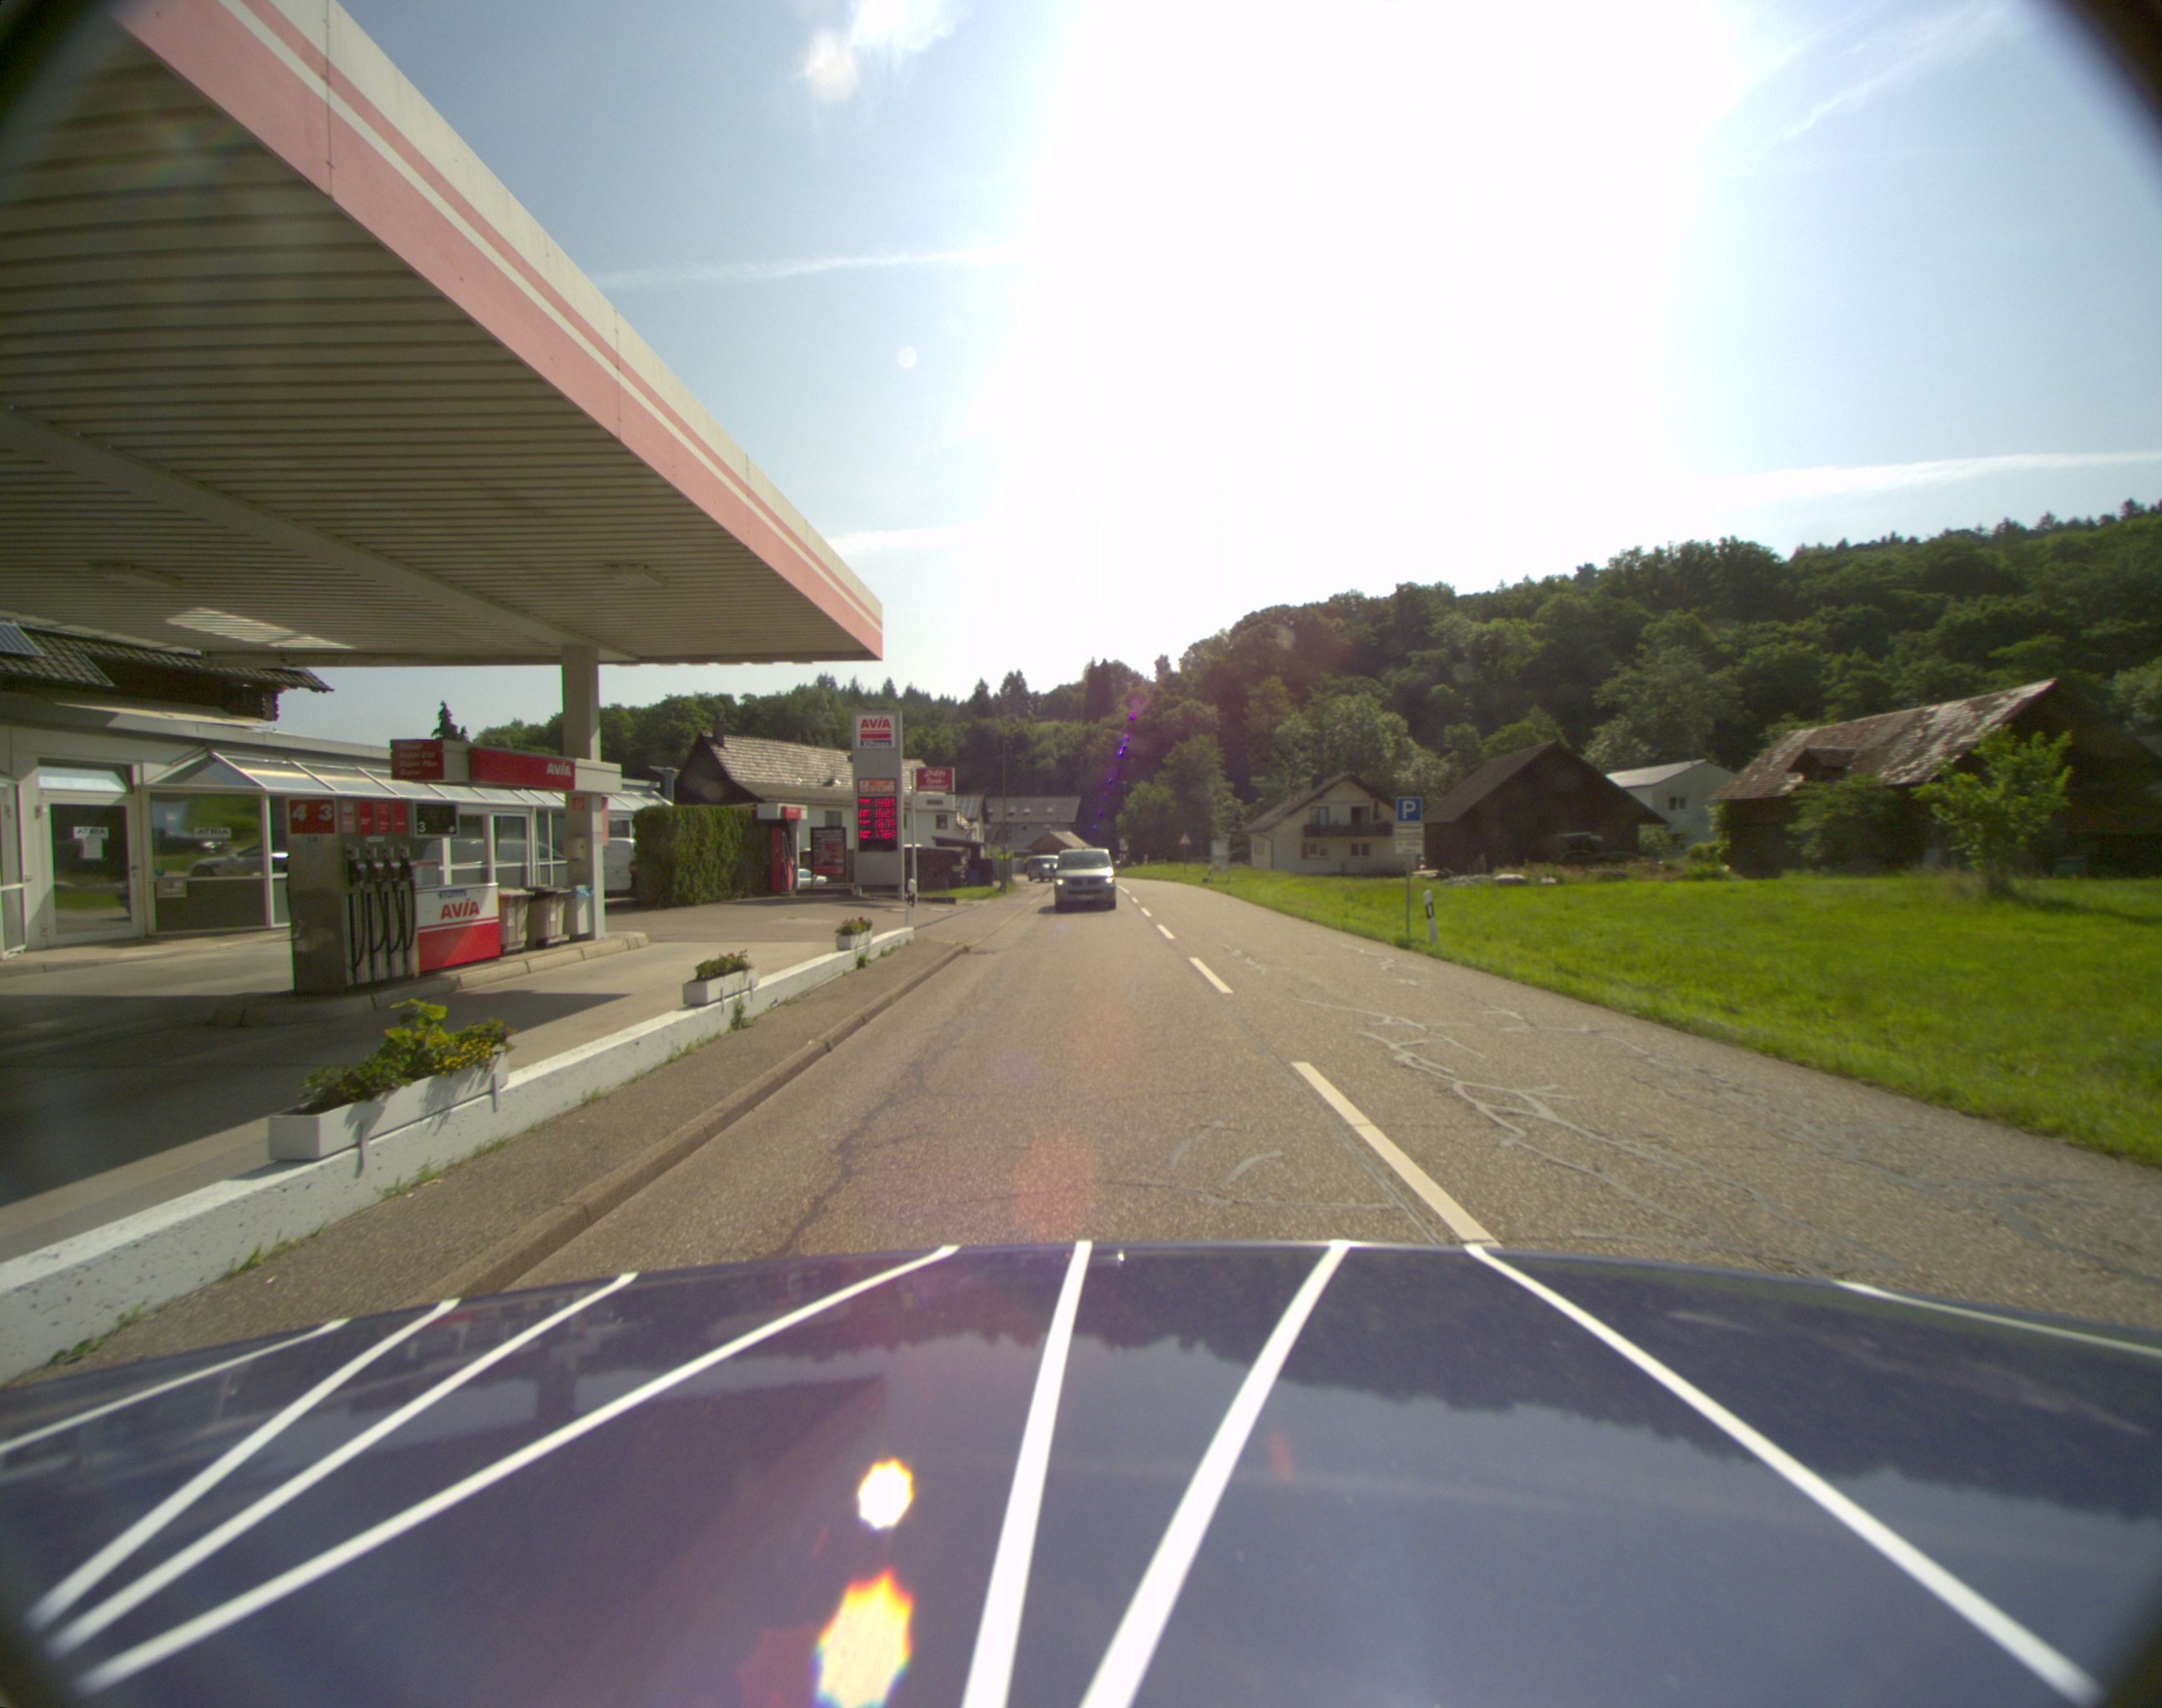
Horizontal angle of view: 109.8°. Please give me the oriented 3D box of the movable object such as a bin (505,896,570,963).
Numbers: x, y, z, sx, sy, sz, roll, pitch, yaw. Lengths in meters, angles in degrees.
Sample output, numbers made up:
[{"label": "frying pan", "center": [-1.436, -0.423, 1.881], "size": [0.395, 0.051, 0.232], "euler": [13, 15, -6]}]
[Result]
[{"label": "movable object such as a bin", "center": [-7.282, 1.005, 10.203], "size": [0.481, 0.840, 0.528], "euler": [-1, 0, -1]}]

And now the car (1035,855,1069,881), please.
[{"label": "car", "center": [-2.200, 1.049, 56.526], "size": [1.897, 1.846, 4.700], "euler": [-1, -1, -9]}]

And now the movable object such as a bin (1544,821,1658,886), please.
[{"label": "movable object such as a bin", "center": [26.010, -0.005, 38.167], "size": [4.185, 3.119, 2.205], "euler": [-1, 0, 15]}]

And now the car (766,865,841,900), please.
[{"label": "car", "center": [-13.132, 1.322, 36.149], "size": [1.642, 1.487, 3.697], "euler": [-1, 0, 11]}]

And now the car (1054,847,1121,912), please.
[{"label": "car", "center": [0.116, 0.832, 26.127], "size": [2.024, 1.970, 5.048], "euler": [-2, -1, -2]}]

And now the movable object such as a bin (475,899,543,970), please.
[{"label": "movable object such as a bin", "center": [-7.269, 1.014, 9.666], "size": [0.481, 0.840, 0.496], "euler": [-1, 0, -1]}]

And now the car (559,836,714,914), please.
[{"label": "car", "center": [-11.691, 0.485, 20.344], "size": [1.684, 1.805, 3.999], "euler": [-2, 1, 0]}]
